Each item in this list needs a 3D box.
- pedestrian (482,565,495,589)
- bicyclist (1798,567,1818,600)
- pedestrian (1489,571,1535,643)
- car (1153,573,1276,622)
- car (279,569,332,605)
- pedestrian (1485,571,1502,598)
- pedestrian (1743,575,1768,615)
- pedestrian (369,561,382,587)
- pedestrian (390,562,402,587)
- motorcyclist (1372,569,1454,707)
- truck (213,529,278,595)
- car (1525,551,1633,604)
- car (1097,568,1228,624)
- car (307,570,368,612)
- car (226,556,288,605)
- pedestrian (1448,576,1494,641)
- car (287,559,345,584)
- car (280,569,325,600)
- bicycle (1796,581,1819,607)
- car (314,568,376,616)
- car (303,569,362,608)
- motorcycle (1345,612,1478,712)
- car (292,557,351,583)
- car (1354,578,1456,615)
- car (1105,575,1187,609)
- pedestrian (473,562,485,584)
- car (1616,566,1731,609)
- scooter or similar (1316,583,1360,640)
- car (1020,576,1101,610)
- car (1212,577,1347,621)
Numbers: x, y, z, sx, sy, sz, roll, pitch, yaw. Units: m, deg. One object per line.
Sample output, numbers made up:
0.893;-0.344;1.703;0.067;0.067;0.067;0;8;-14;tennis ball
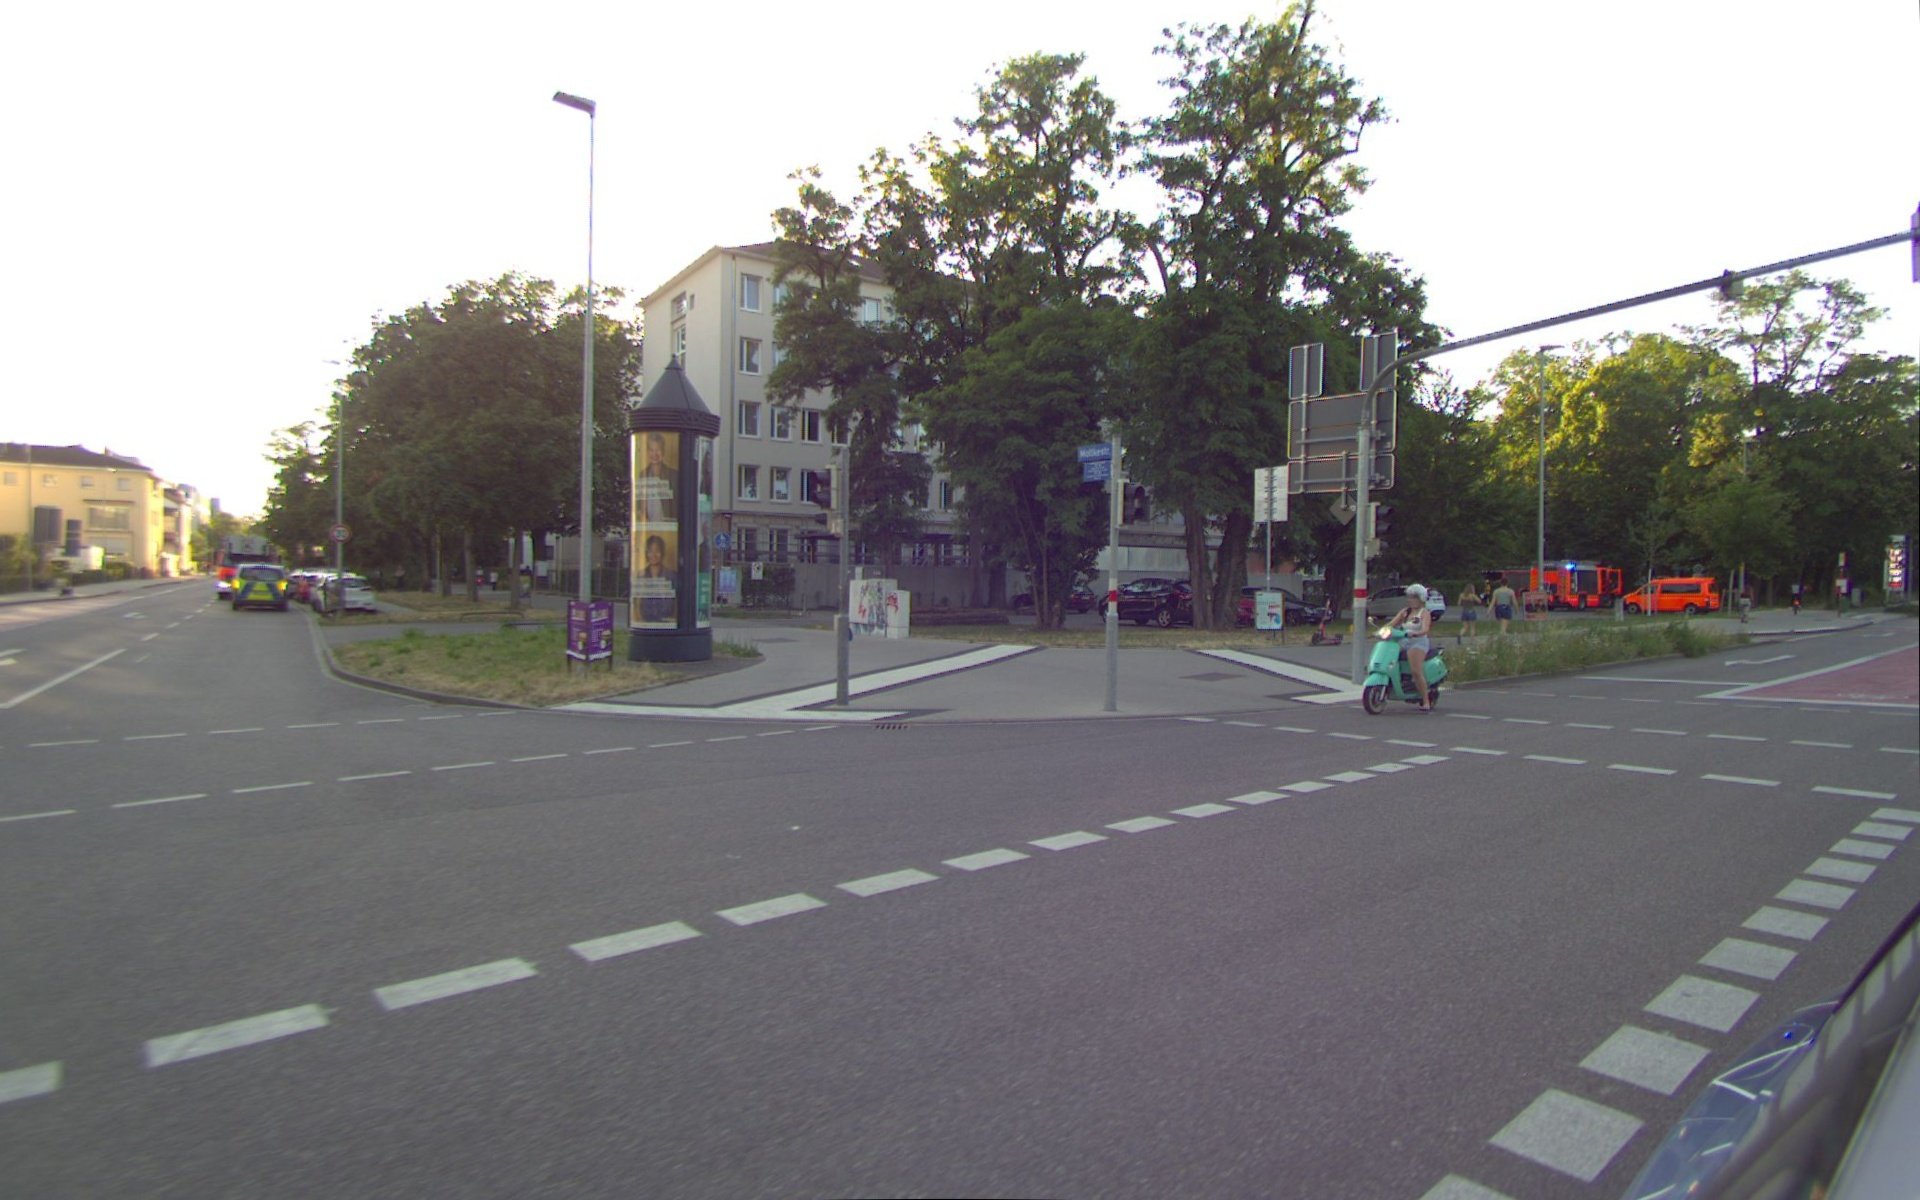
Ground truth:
-31.594;-1.554;67.867;0.670;1.642;0.688;0;1;-36;pedestrian
42.394;-0.829;50.585;1.019;1.652;0.571;0;1;-40;bicyclist
13.148;0.156;24.097;0.763;1.681;0.720;0;1;-42;pedestrian
8.970;-0.132;35.957;1.881;1.631;4.003;0;2;-33;car
-31.985;-0.674;49.442;1.963;1.660;4.000;0;2;-36;car
37.572;-1.075;71.286;0.829;1.865;0.684;1;1;-6;pedestrian
32.985;-0.209;41.960;0.676;1.642;0.682;1;1;-40;pedestrian
-37.476;-1.666;64.890;0.674;1.642;0.684;0;1;-28;pedestrian
-36.624;-1.648;65.724;0.674;1.642;0.684;0;1;-28;pedestrian
5.993;0.483;13.399;0.677;1.759;0.741;0;0;-32;motorcyclist
-38.123;-1.987;53.912;2.592;3.179;10.273;-1;2;-36;truck
40.228;-1.454;65.674;8.138;3.284;2.775;0;2;-34;car
6.777;-0.175;34.238;1.882;1.762;4.240;0;2;-34;car
-25.435;-0.398;41.280;1.962;1.631;4.002;0;2;-34;car
-29.362;-0.760;42.208;2.018;1.886;4.494;0;-1;-36;car
12.500;0.191;24.766;0.775;1.542;0.736;0;1;-40;pedestrian
-53.238;-2.392;83.723;3.746;1.804;1.930;-6;3;-41;car
-37.679;-0.901;57.930;1.963;1.660;4.000;0;2;-36;car
42.293;-0.315;50.514;1.865;1.256;0.571;-1;2;-41;bicycle
-22.796;-0.332;37.466;1.864;1.660;4.003;0;2;-33;car
-28.196;-0.544;45.403;1.963;1.660;4.000;0;2;-36;car
5.990;0.778;13.393;1.856;1.213;0.685;0;0;-32;motorcycle
-51.510;-2.410;81.661;3.746;1.804;1.930;-6;3;-41;car
18.907;-0.180;43.147;1.633;1.477;3.667;0;2;-35;car
9.150;-0.419;50.045;1.880;1.540;3.921;0;2;-31;car
-37.341;-2.086;78.565;0.670;1.642;0.688;0;1;-36;pedestrian
42.013;-0.764;59.693;1.963;2.422;5.167;0;2;-37;car
8.791;0.253;23.499;1.158;1.287;0.441;0;1;-41;scooter or similar
4.622;-0.354;47.089;1.738;1.477;3.626;0;2;-38;car
11.706;-0.073;37.330;1.883;1.482;4.519;0;2;-37;car
